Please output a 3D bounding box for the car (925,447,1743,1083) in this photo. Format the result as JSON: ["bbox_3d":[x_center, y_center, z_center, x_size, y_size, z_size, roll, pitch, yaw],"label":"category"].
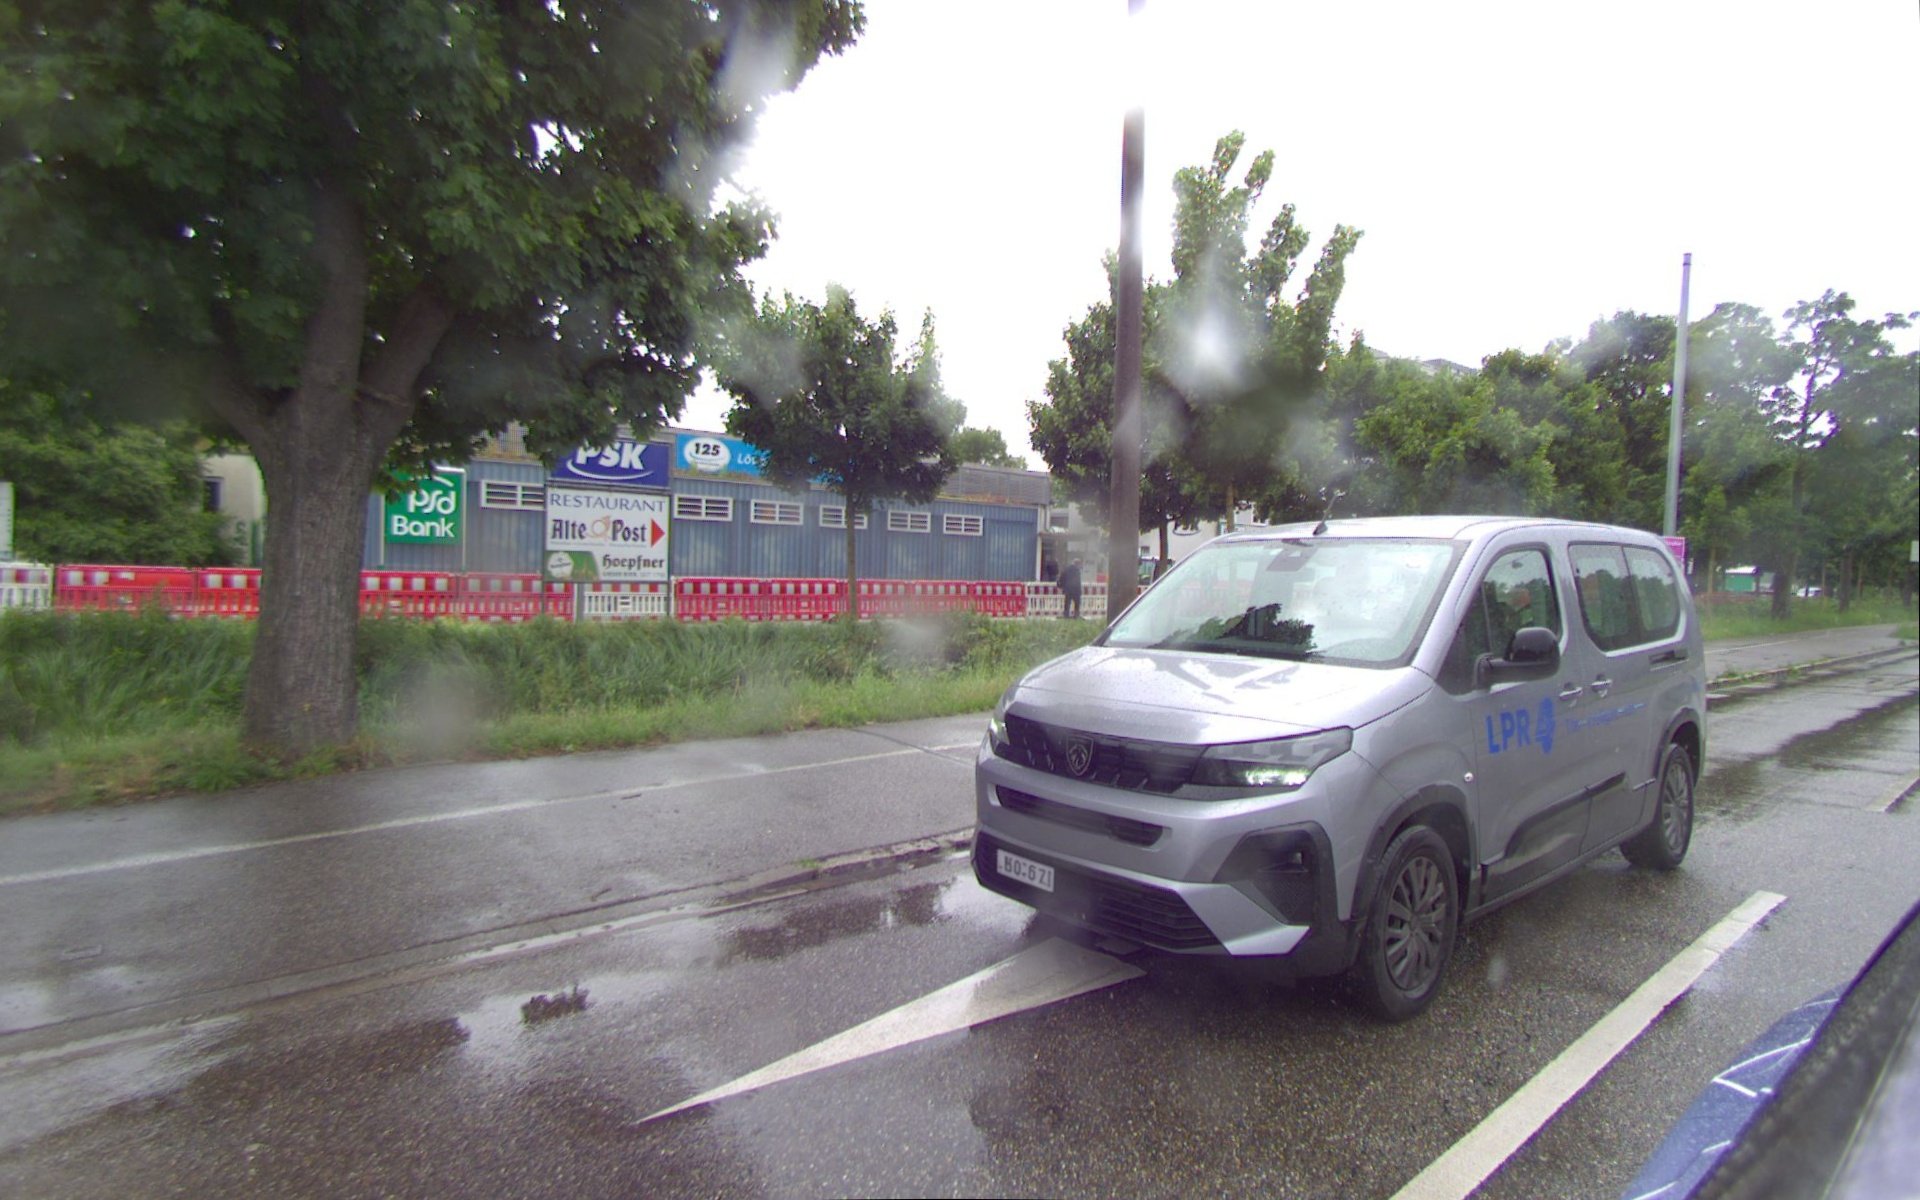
[{"bbox_3d":[2.182,0.432,5.127,4.483,1.818,1.997,-1,1,-41],"label":"car"}]

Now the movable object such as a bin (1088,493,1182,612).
[{"bbox_3d":[6.960,-1.832,40.086,3.839,4.481,1.557,-1,1,-39],"label":"movable object such as a bin"}]

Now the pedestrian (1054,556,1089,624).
[{"bbox_3d":[3.209,-0.289,29.113,0.861,1.920,0.580,-1,1,-41],"label":"pedestrian"}]

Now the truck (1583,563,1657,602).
[{"bbox_3d":[52.769,-1.404,80.775,8.599,2.935,2.808,-1,1,-41],"label":"truck"}]
